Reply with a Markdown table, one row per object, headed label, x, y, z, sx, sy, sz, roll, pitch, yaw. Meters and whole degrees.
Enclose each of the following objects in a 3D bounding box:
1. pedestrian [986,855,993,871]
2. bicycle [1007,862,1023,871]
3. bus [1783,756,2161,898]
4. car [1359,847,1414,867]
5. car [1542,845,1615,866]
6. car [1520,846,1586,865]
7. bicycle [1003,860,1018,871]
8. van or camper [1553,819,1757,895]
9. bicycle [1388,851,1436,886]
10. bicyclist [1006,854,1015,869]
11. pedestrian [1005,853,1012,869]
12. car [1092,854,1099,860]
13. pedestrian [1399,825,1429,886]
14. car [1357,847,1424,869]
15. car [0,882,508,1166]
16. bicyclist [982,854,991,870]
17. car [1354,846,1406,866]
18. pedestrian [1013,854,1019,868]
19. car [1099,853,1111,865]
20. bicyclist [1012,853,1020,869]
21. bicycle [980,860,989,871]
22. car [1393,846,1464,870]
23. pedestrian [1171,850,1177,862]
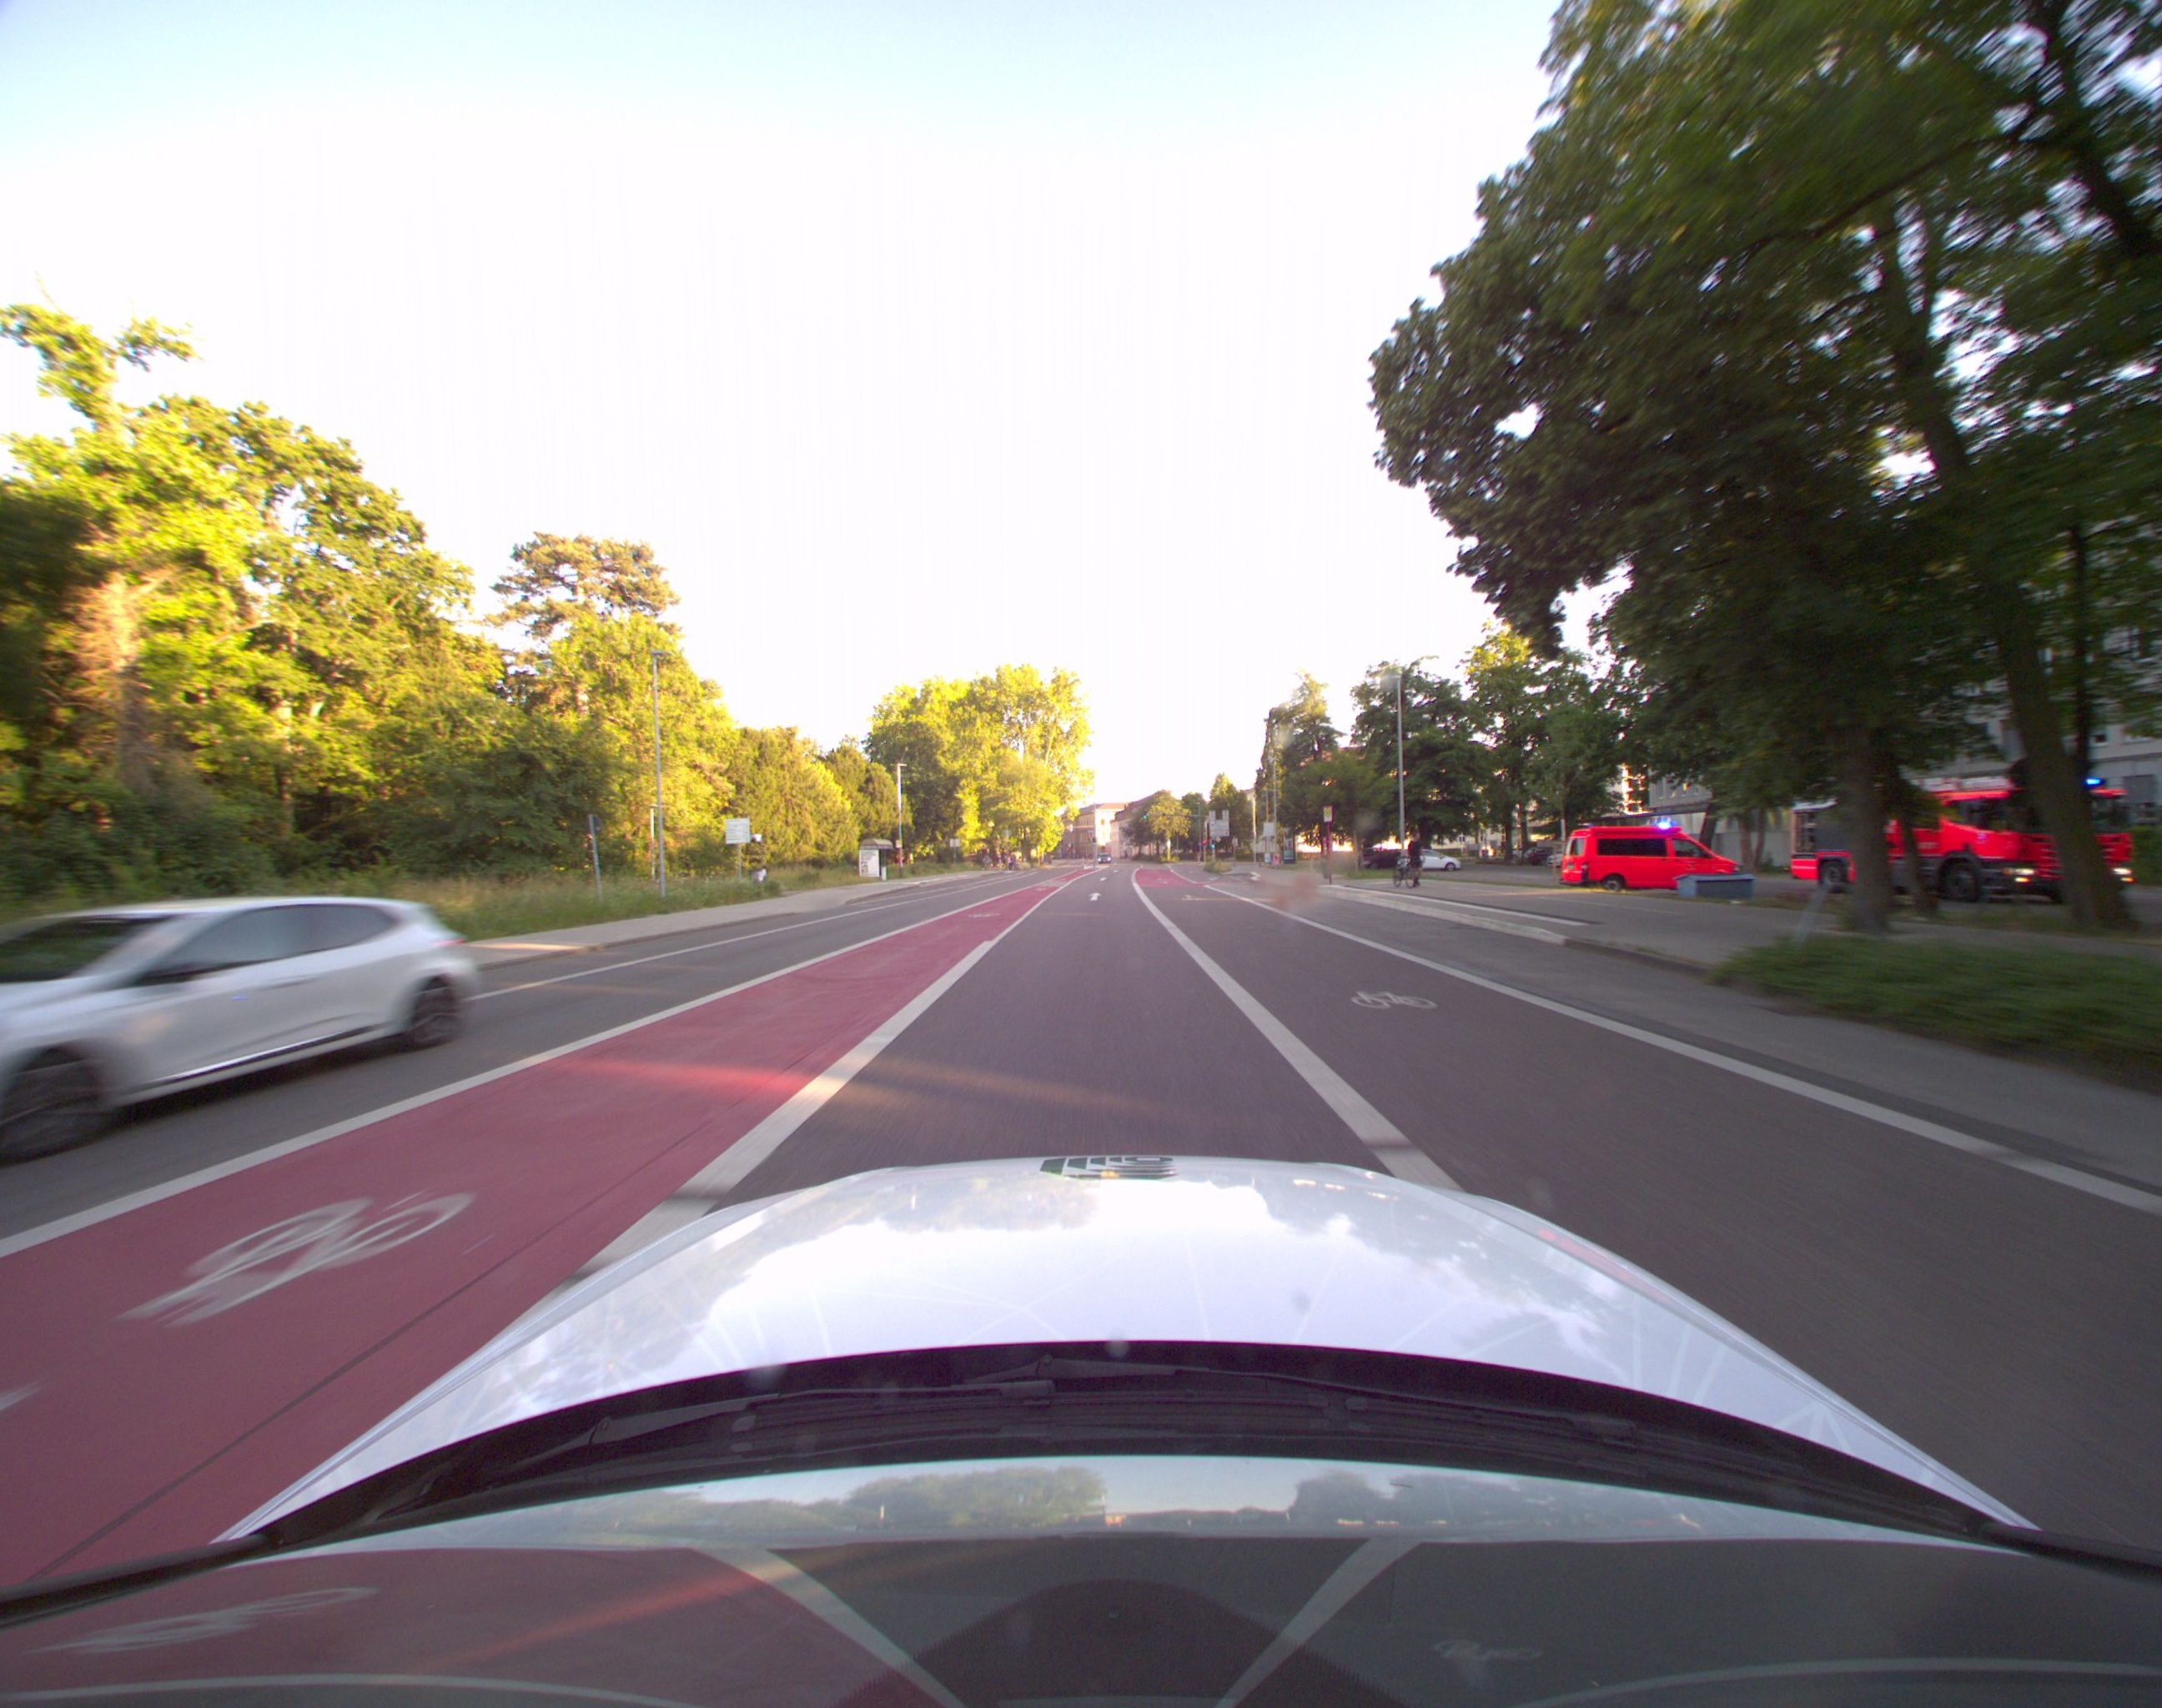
| label | x | y | z | sx | sy | sz | roll | pitch | yaw |
| --- | --- | --- | --- | --- | --- | --- | --- | --- | --- |
| pedestrian | -11.663 | 1.108 | 103.361 | 0.653 | 2.014 | 0.600 | 0 | -1 | -34 |
| bicycle | -7.260 | 1.358 | 89.315 | 1.749 | 1.030 | 0.583 | -2 | 0 | 35 |
| bus | 23.677 | -0.591 | 22.510 | 2.968 | 3.196 | 7.990 | 0 | 0 | 12 |
| car | 25.156 | 0.232 | 67.118 | 3.961 | 1.561 | 1.791 | -1 | 0 | 11 |
| car | 34.878 | 0.122 | 57.180 | 3.961 | 1.475 | 1.839 | 0 | 0 | 11 |
| car | 36.120 | 0.111 | 62.353 | 3.963 | 1.442 | 1.907 | 0 | 0 | 9 |
| bicycle | -7.615 | 1.250 | 87.703 | 1.548 | 1.111 | 0.637 | -2 | 0 | 35 |
| van or camper | 17.990 | 0.100 | 25.831 | 4.780 | 2.244 | 2.303 | 0 | 0 | 13 |
| bicycle | 11.150 | 0.479 | 27.475 | 0.827 | 1.097 | 1.969 | -2 | 0 | 1 |
| bicyclist | -7.586 | 0.824 | 87.674 | 0.631 | 1.649 | 0.634 | -2 | -1 | 35 |
| pedestrian | -7.553 | 0.733 | 85.289 | 0.604 | 1.695 | 0.499 | -1 | 0 | 6 |
| car | 3.658 | 0.720 | 207.359 | 1.813 | 1.589 | 4.001 | -2 | 0 | 1 |
| pedestrian | 11.082 | 0.039 | 27.156 | 0.720 | 2.014 | 0.695 | 0 | 0 | 1 |
| car | 24.219 | 0.344 | 63.884 | 4.545 | 1.449 | 1.904 | -3 | -2 | 7 |
| car | -6.721 | 1.021 | 6.016 | 1.839 | 1.414 | 4.183 | -2 | 0 | 2 |
| bicyclist | -10.578 | 0.879 | 90.982 | 0.731 | 1.824 | 0.713 | -3 | -1 | 4 |
| car | 25.646 | 0.191 | 69.977 | 3.874 | 1.694 | 1.841 | 0 | 0 | 8 |
| pedestrian | -9.340 | 0.973 | 116.965 | 0.636 | 2.013 | 0.702 | -1 | 0 | 6 |
| car | 3.727 | 0.710 | 126.227 | 1.842 | 1.720 | 4.298 | -3 | 0 | 2 |
| bicyclist | -7.099 | 0.768 | 89.206 | 0.631 | 1.780 | 0.580 | -2 | -1 | 35 |
| bicycle | -10.819 | 1.268 | 91.095 | 0.768 | 1.100 | 2.121 | -1 | 0 | -1 |
| car | 23.108 | 0.258 | 54.288 | 3.964 | 1.537 | 1.916 | 0 | 0 | 8 |
| pedestrian | 15.708 | 0.310 | 137.748 | 0.866 | 2.014 | 0.723 | 0 | 0 | 4 |
